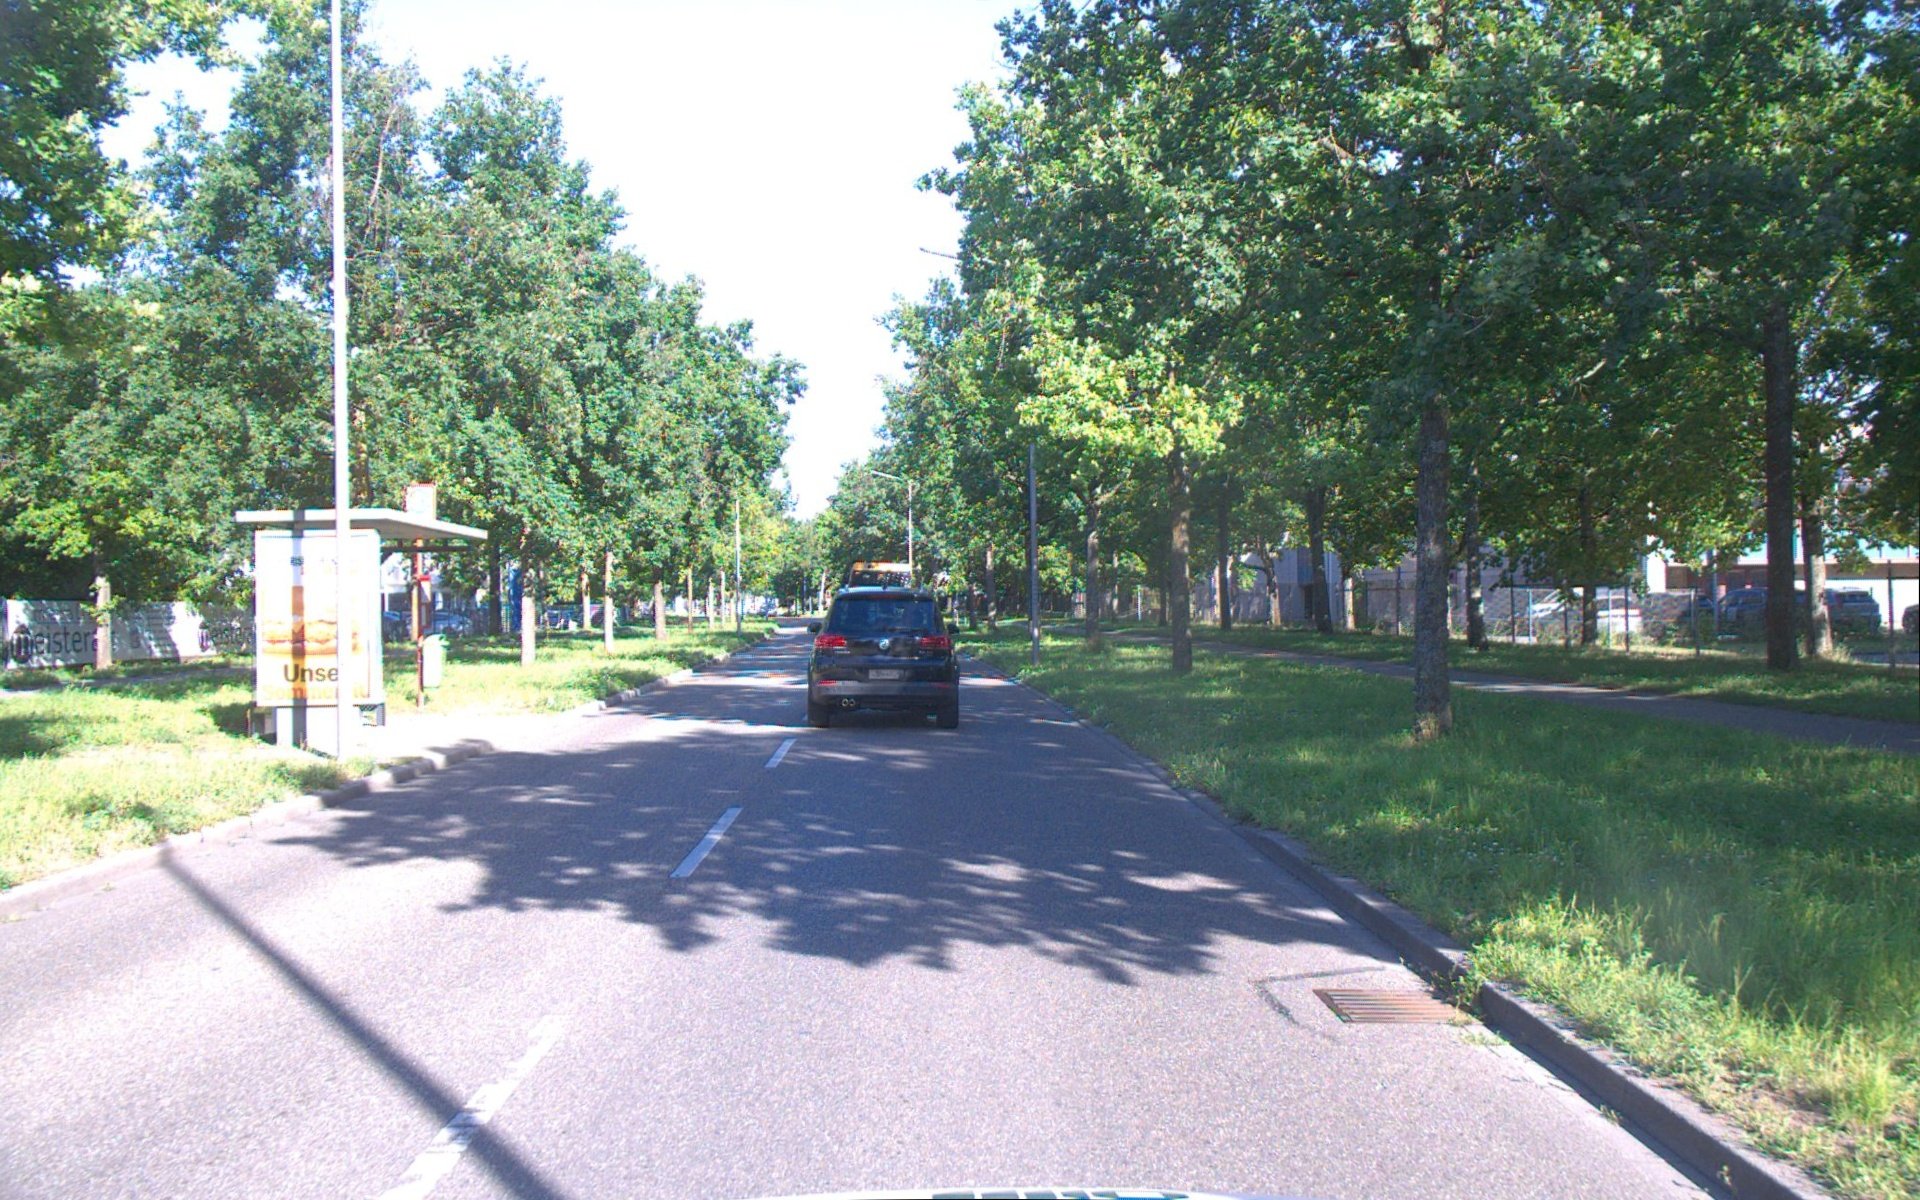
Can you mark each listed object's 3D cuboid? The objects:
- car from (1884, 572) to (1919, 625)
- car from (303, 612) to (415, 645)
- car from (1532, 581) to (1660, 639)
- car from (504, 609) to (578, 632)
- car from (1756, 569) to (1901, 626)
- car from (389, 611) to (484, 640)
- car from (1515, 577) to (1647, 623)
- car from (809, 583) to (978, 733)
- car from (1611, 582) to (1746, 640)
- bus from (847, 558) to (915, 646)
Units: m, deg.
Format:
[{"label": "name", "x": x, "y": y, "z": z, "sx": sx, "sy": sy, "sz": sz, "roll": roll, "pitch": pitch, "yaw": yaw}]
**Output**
[{"label": "car", "x": 33.330, "y": -0.070, "z": 55.231, "sx": 2.141, "sy": 1.775, "sz": 4.638, "roll": -1, "pitch": 0, "yaw": -4}, {"label": "car", "x": -25.908, "y": 1.226, "z": 71.415, "sx": 4.115, "sy": 1.310, "sz": 1.940, "roll": -1, "pitch": 0, "yaw": -4}, {"label": "car", "x": 20.760, "y": 0.321, "z": 54.204, "sx": 2.141, "sy": 1.775, "sz": 4.638, "roll": -1, "pitch": 0, "yaw": -4}, {"label": "car", "x": -26.482, "y": 1.290, "z": 104.670, "sx": 4.111, "sy": 1.344, "sz": 1.942, "roll": -1, "pitch": 0, "yaw": 2}, {"label": "car", "x": 28.761, "y": -0.070, "z": 54.944, "sx": 2.141, "sy": 1.775, "sz": 4.638, "roll": -1, "pitch": 0, "yaw": -4}, {"label": "car", "x": -25.929, "y": 1.260, "z": 82.024, "sx": 4.115, "sy": 1.310, "sz": 1.940, "roll": -1, "pitch": 0, "yaw": -4}, {"label": "car", "x": 25.346, "y": 0.008, "z": 67.567, "sx": 4.540, "sy": 1.775, "sz": 2.187, "roll": -1, "pitch": 0, "yaw": -9}, {"label": "car", "x": -0.854, "y": 0.648, "z": 20.966, "sx": 1.897, "sy": 1.685, "sz": 4.424, "roll": 1, "pitch": 0, "yaw": -3}, {"label": "car", "x": 23.345, "y": 0.339, "z": 53.952, "sx": 2.141, "sy": 1.775, "sz": 4.638, "roll": -1, "pitch": 0, "yaw": -4}, {"label": "bus", "x": -3.385, "y": 0.091, "z": 72.679, "sx": 2.709, "sy": 3.517, "sz": 11.206, "roll": -1, "pitch": 0, "yaw": -2}]
